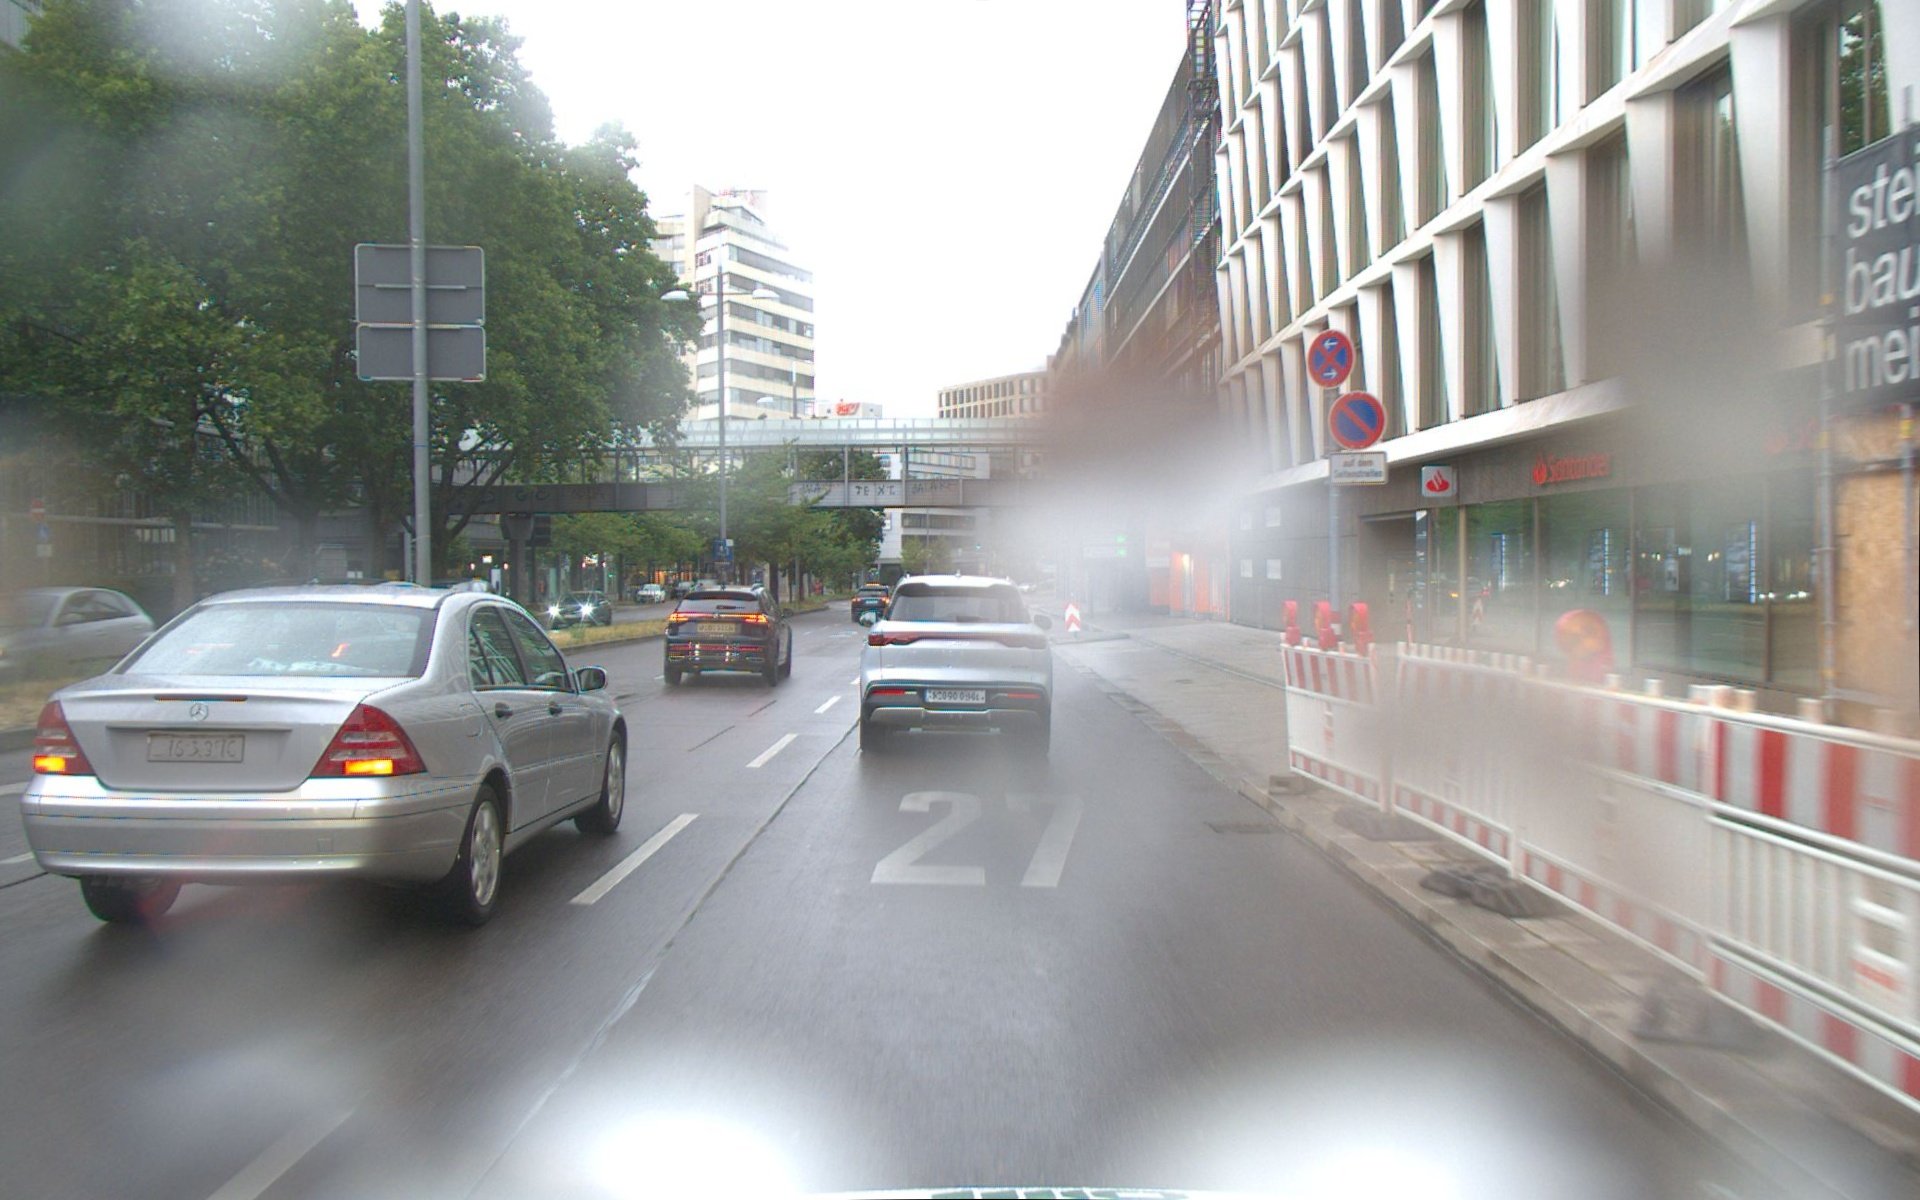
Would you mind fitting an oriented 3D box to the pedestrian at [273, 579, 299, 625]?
[{"bbox_3d":[-27.367,0.084,67.174,0.719,1.839,0.802,0,1,0],"label":"pedestrian"}]

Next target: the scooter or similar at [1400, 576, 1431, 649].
[{"bbox_3d":[8.047,0.203,29.242,0.403,1.258,1.190,0,1,9],"label":"scooter or similar"}]

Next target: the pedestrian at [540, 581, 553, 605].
[{"bbox_3d":[-30.379,-0.524,121.462,0.728,1.745,1.057,0,1,-1],"label":"pedestrian"}]

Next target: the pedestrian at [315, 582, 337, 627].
[{"bbox_3d":[-25.676,0.179,66.969,0.584,1.839,0.760,0,1,0],"label":"pedestrian"}]

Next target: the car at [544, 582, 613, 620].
[{"bbox_3d":[-15.412,0.029,66.998,1.656,1.463,4.759,-1,0,0],"label":"car"}]

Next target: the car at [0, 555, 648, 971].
[{"bbox_3d":[-2.778,0.606,8.199,1.638,1.505,4.360,0,0,0],"label":"car"}]

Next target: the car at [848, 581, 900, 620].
[{"bbox_3d":[-3.582,-0.002,69.518,1.774,1.606,4.002,0,1,2],"label":"car"}]

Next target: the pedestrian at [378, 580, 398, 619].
[{"bbox_3d":[-27.531,-0.036,79.603,0.708,1.839,0.618,0,1,0],"label":"pedestrian"}]

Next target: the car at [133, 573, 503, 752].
[{"bbox_3d":[-6.125,0.501,16.490,1.834,1.505,4.877,0,1,-1],"label":"car"}]

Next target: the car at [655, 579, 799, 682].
[{"bbox_3d":[-3.606,0.443,26.243,1.738,1.482,3.999,-1,0,-1],"label":"car"}]

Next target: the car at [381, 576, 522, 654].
[{"bbox_3d":[-11.858,0.336,38.884,1.835,1.709,4.680,-1,0,0],"label":"car"}]

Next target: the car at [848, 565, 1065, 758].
[{"bbox_3d":[-0.032,0.529,16.470,1.862,1.649,4.000,1,0,0],"label":"car"}]

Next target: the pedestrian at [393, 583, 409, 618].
[{"bbox_3d":[-26.941,0.019,79.733,0.548,1.715,0.511,0,1,0],"label":"pedestrian"}]

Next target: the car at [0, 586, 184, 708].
[{"bbox_3d":[-11.581,0.537,20.800,1.563,1.383,4.118,-1,0,2],"label":"car"}]

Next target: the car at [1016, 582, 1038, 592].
[{"bbox_3d":[10.037,-1.932,247.995,1.551,1.565,3.992,0,1,30],"label":"car"}]
